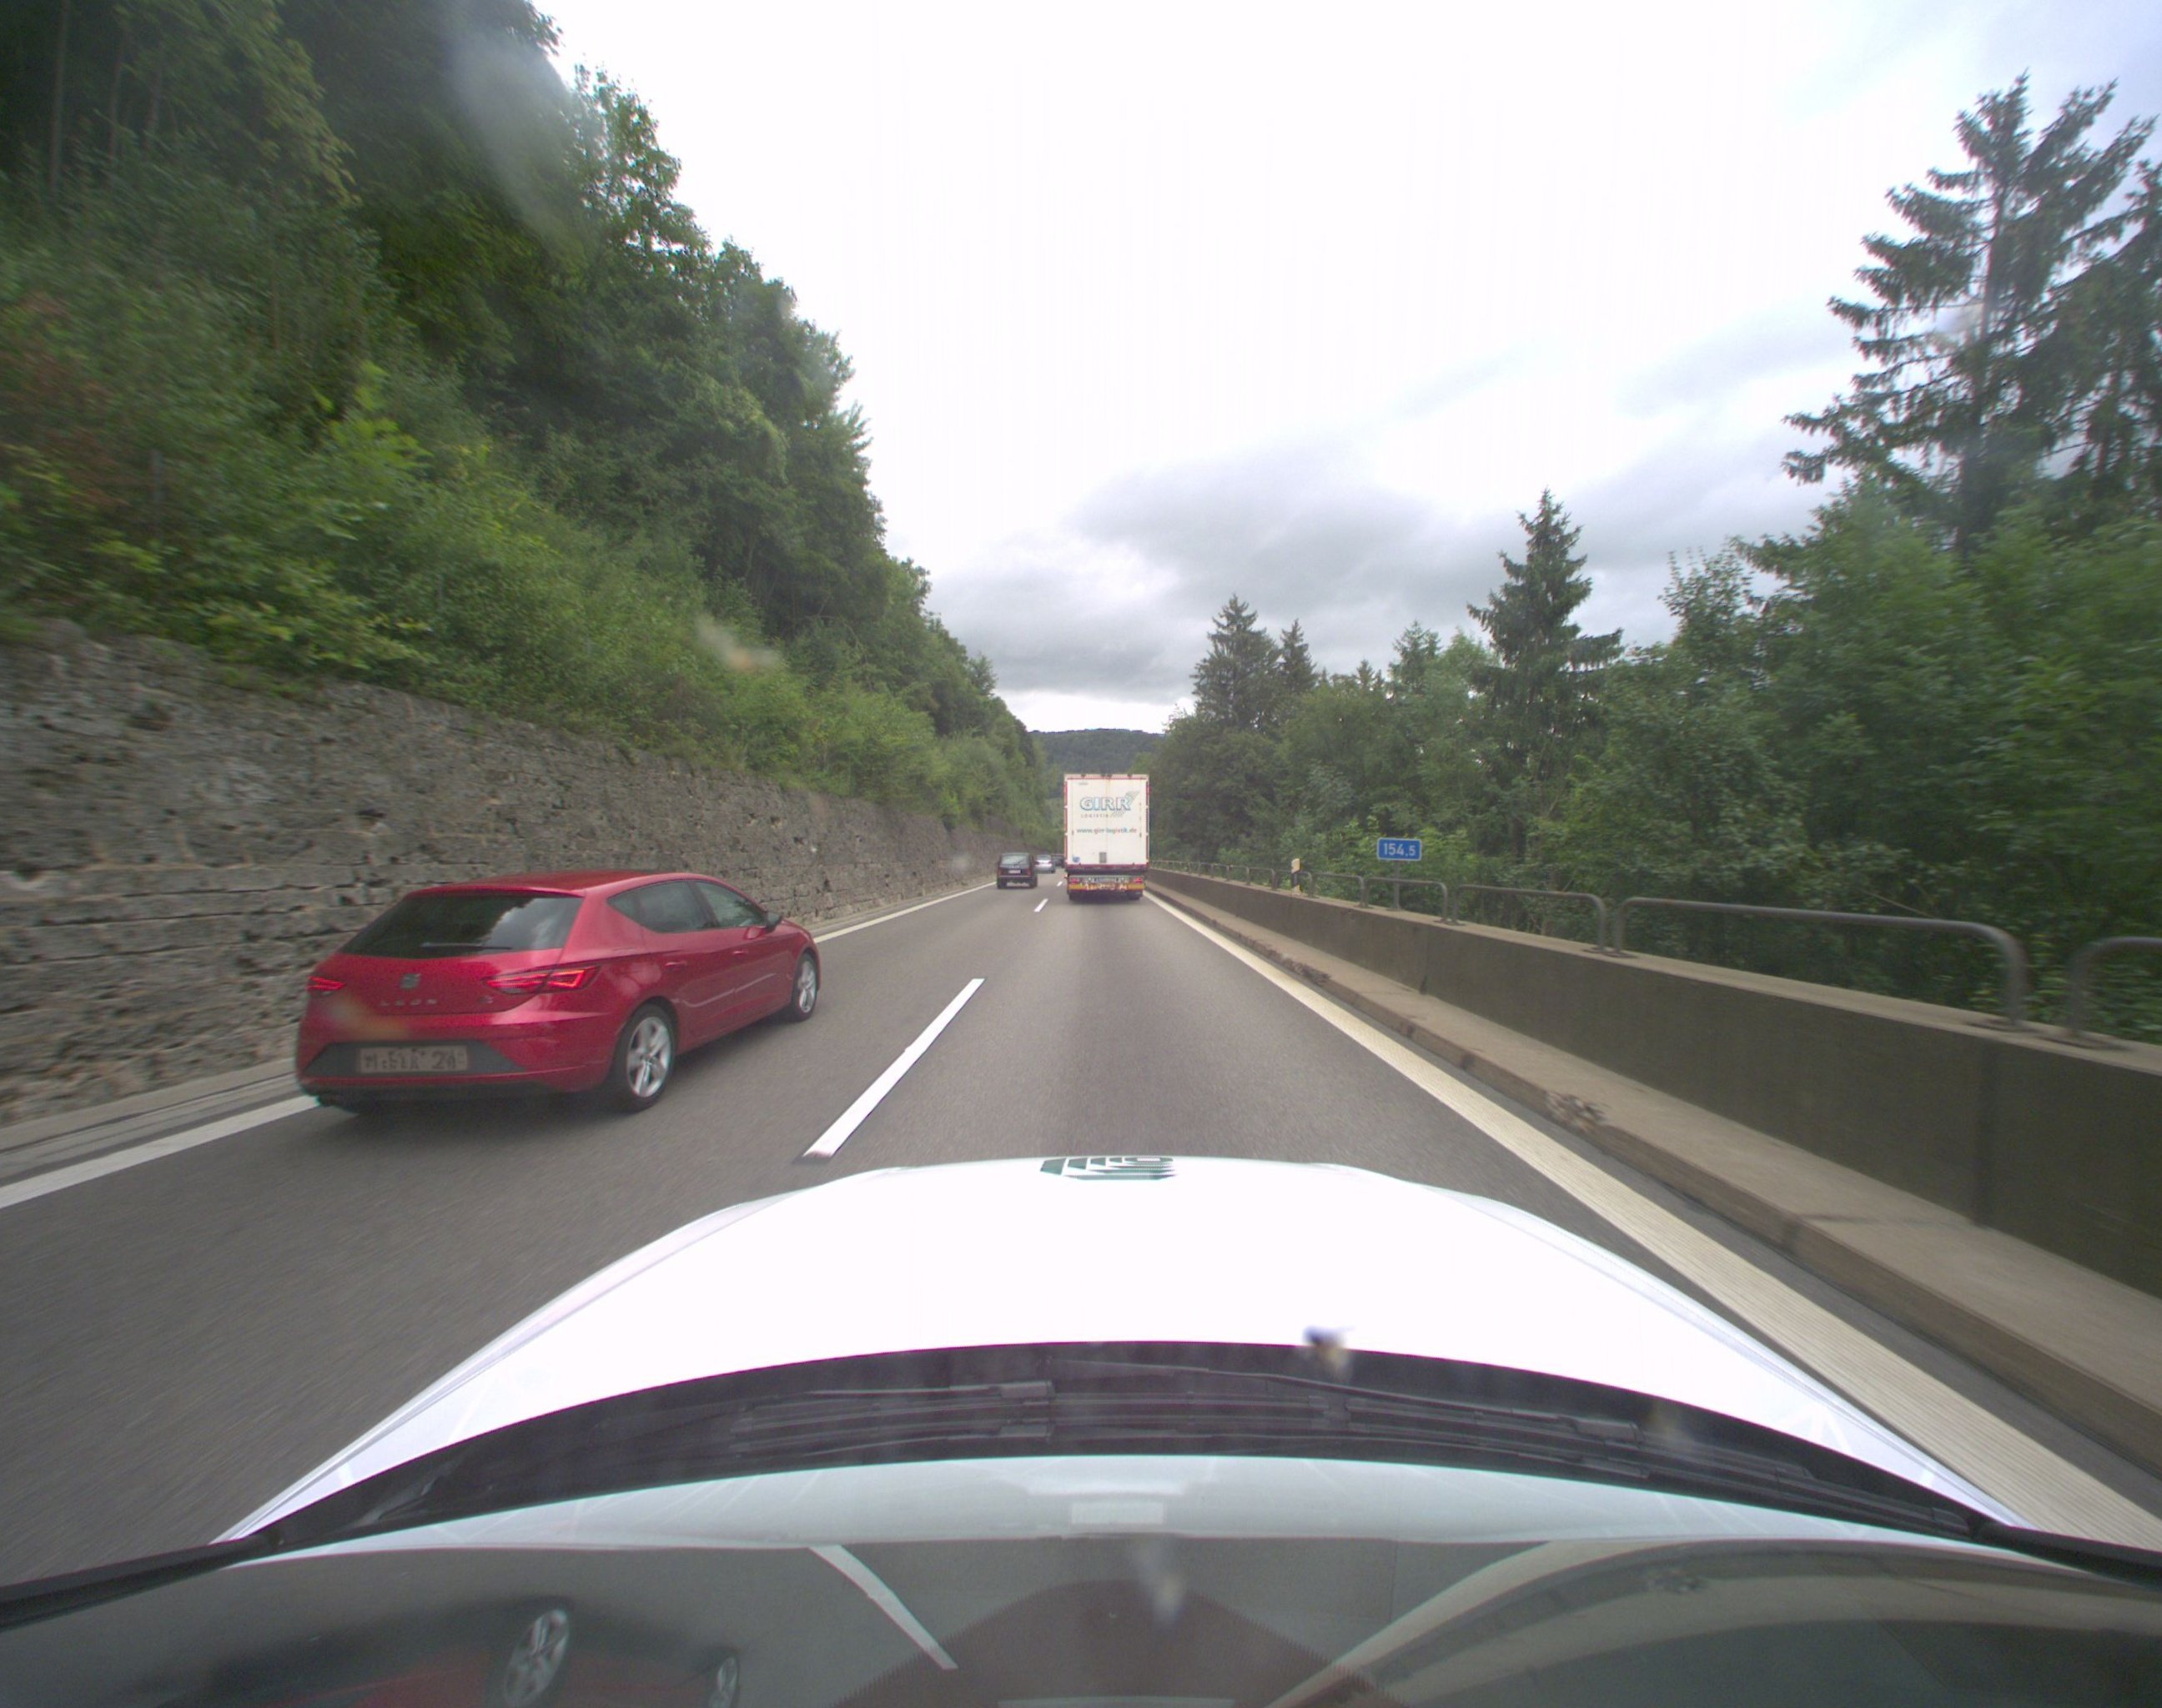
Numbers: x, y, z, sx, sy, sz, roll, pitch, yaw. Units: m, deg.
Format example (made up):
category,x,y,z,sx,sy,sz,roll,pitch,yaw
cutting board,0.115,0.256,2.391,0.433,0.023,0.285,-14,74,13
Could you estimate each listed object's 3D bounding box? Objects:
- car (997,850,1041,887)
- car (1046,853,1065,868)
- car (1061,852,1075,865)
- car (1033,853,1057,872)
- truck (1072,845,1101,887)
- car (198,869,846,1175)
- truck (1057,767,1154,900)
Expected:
category,x,y,z,sx,sy,sz,roll,pitch,yaw
car,-2.834,0.666,37.738,1.663,1.639,4.068,0,-1,1
car,-2.844,0.754,91.308,1.910,1.595,4.178,0,-1,0
car,-2.064,0.803,130.860,1.986,2.014,4.001,0,-1,2
car,-2.894,0.664,66.389,1.723,1.486,3.999,0,-1,0
truck,0.492,1.084,74.822,2.478,3.572,9.306,0,-1,0
car,-3.398,0.868,6.222,1.759,1.460,4.413,0,-1,2
truck,0.826,-0.571,28.905,2.898,3.961,9.280,0,0,1
